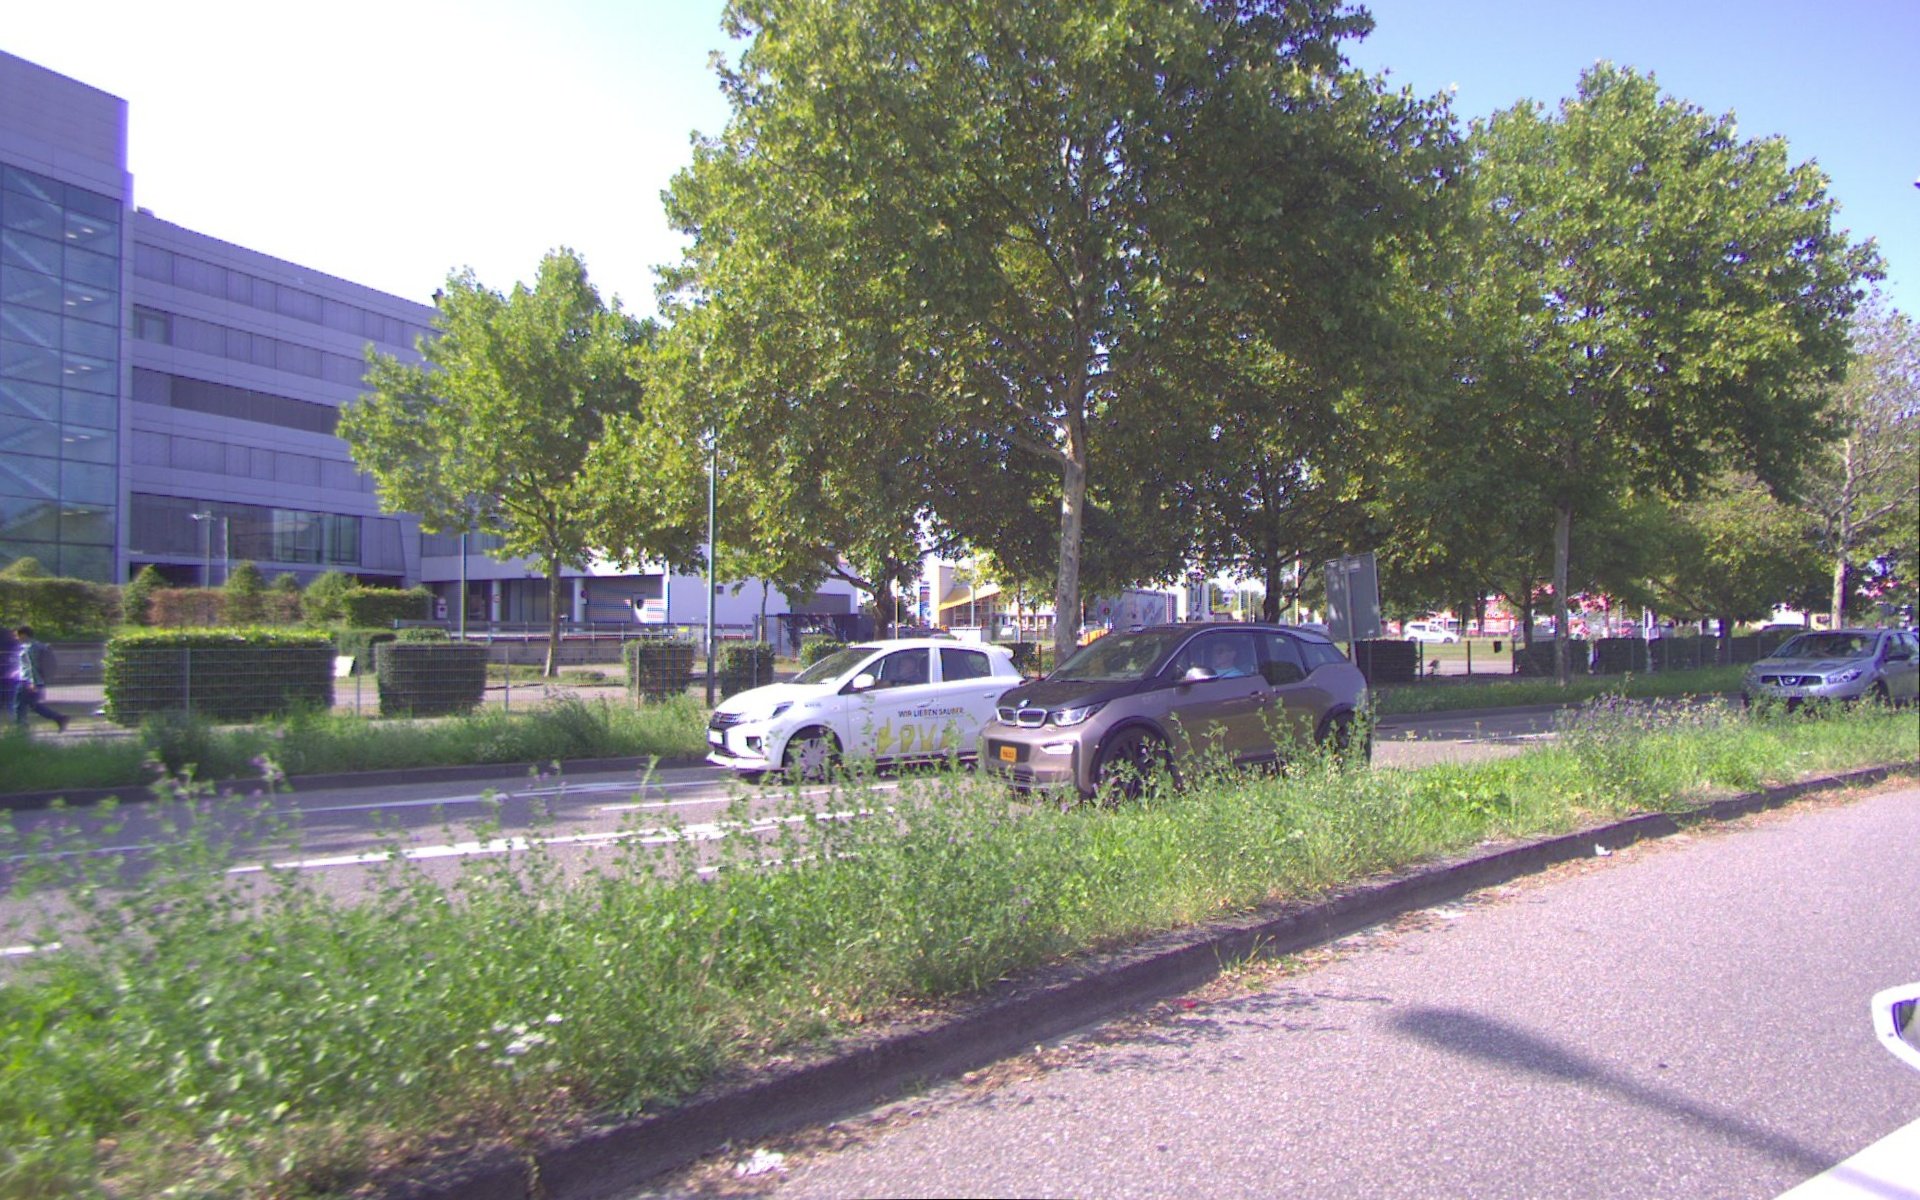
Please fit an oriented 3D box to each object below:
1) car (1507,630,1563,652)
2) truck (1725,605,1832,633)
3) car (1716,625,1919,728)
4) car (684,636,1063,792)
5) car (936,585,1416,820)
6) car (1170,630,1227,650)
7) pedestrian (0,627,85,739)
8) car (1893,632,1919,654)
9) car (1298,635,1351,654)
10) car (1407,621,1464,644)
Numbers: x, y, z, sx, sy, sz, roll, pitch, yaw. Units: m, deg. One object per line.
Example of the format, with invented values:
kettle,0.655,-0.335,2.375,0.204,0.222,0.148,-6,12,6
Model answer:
car,42.680,3.004,74.602,3.426,1.601,1.725,-1,-2,25
truck,93.801,2.242,115.275,8.845,2.996,3.512,-1,-2,26
car,15.300,1.261,17.555,4.059,1.615,1.871,1,-2,-29
car,-0.942,1.160,11.466,3.953,1.501,1.782,1,-2,-31
car,2.107,0.880,9.602,4.256,1.782,1.985,1,-4,-30
car,20.516,3.422,86.429,4.501,1.565,1.870,0,-1,22
pedestrian,-14.236,1.259,15.538,0.922,1.674,0.614,1,-1,-29
car,63.853,2.845,65.839,3.633,1.462,1.465,0,-1,26
car,29.765,3.634,81.978,3.926,1.565,1.838,-1,-2,26
car,36.705,2.481,77.683,3.924,1.701,1.869,0,-1,25
